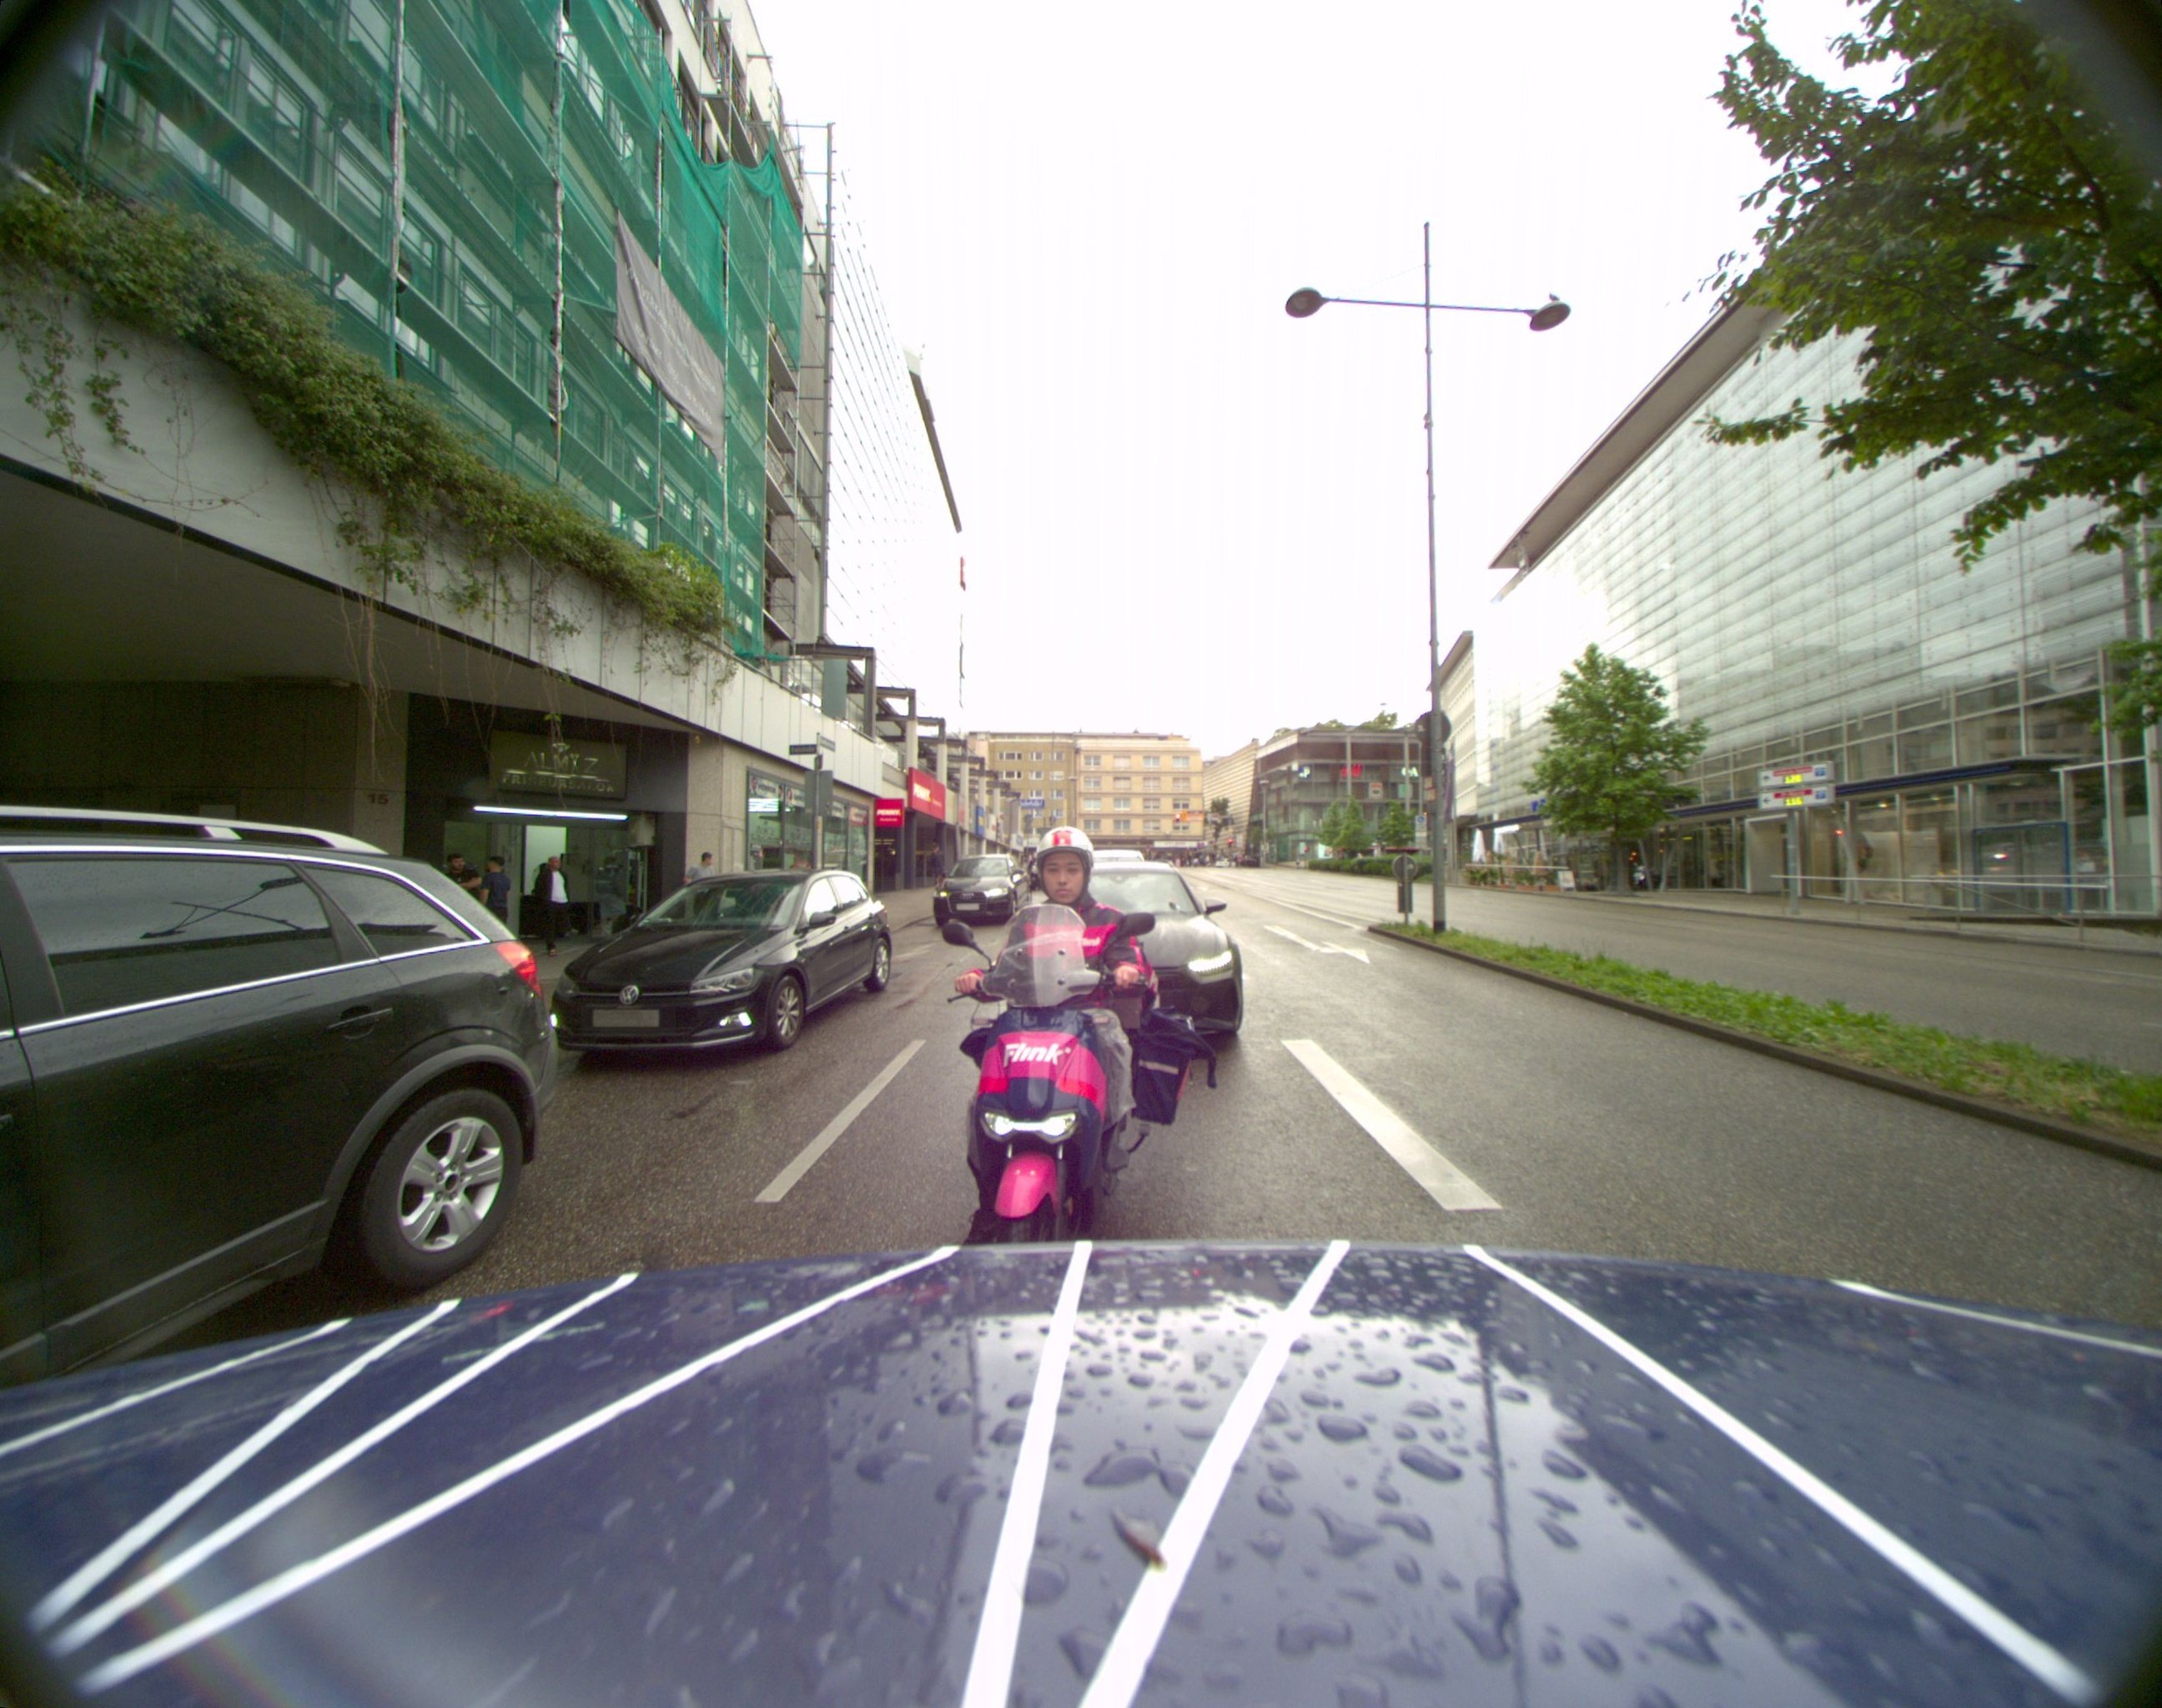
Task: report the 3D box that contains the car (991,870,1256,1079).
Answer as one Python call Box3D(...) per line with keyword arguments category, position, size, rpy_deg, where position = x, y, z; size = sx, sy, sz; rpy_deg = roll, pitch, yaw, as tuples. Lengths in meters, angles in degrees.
Box3D(category="car", position=(0.397, 0.930, 7.623), size=(1.890, 1.392, 4.164), rpy_deg=(-2, 0, 2))

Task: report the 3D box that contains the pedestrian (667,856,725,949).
Box3D(category="pedestrian", position=(-7.070, 0.873, 13.987), size=(0.639, 1.633, 0.733), rpy_deg=(-2, 2, -3))

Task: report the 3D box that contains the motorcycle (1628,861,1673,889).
Box3D(category="motorcycle", position=(27.904, 1.036, 37.266), size=(1.707, 1.319, 0.620), rpy_deg=(0, 1, 1))

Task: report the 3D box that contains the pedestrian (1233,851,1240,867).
Box3D(category="pedestrian", position=(17.696, 0.578, 86.325), size=(0.626, 1.764, 0.689), rpy_deg=(-2, 2, 5))

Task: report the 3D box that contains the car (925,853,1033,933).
Box3D(category="car", position=(-2.304, 0.834, 18.262), size=(1.841, 1.598, 4.164), rpy_deg=(-2, 1, 2))

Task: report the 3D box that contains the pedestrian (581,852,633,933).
Box3D(category="pedestrian", position=(-9.761, 0.784, 15.656), size=(0.676, 1.618, 0.580), rpy_deg=(0, 2, 7))

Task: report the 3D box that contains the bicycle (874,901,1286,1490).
Box3D(category="bicycle", position=(0.016, 0.992, 3.456), size=(1.034, 1.279, 2.948), rpy_deg=(-2, 1, 1))

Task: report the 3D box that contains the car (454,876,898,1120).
Box3D(category="car", position=(-3.208, 1.024, 7.140), size=(1.759, 1.495, 4.165), rpy_deg=(-2, -1, 2))

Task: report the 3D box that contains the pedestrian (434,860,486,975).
Box3D(category="pedestrian", position=(-9.579, 0.956, 11.719), size=(0.466, 1.698, 0.484), rpy_deg=(0, 2, 42))

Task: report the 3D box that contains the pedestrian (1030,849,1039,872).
Box3D(category="pedestrian", position=(-2.991, 0.401, 49.119), size=(0.510, 1.492, 0.579), rpy_deg=(0, 2, 0))

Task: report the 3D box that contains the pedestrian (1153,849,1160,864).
Box3D(category="pedestrian", position=(8.006, 0.292, 80.905), size=(0.634, 1.620, 0.602), rpy_deg=(0, 1, -1))

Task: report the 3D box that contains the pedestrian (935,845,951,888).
Box3D(category="pedestrian", position=(-5.504, 0.493, 30.327), size=(0.510, 1.669, 0.579), rpy_deg=(0, 2, 0))

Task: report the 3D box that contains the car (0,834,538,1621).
Box3D(category="car", position=(-3.327, 0.855, 1.239), size=(1.764, 1.755, 4.164), rpy_deg=(-2, -1, 2))

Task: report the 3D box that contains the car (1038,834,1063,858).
Box3D(category="car", position=(-2.686, -0.723, 67.708), size=(1.605, 2.002, 3.400), rpy_deg=(-2, 1, 7))

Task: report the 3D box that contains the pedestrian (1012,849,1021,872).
Box3D(category="pedestrian", position=(-4.146, 0.399, 48.909), size=(0.510, 1.492, 0.579), rpy_deg=(0, 2, 0))

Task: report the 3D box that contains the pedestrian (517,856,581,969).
Box3D(category="pedestrian", position=(-8.932, 0.938, 12.760), size=(0.771, 1.805, 0.745), rpy_deg=(2, 2, 44))

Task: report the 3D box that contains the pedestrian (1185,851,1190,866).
Box3D(category="pedestrian", position=(11.925, 0.533, 85.150), size=(0.428, 1.620, 0.602), rpy_deg=(1, 1, 5))

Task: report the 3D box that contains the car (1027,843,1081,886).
Box3D(category="car", position=(-1.106, 0.444, 32.974), size=(1.988, 1.696, 4.165), rpy_deg=(-2, -1, 2))

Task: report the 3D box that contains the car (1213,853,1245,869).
Box3D(category="car", position=(20.031, 0.923, 102.767), size=(1.994, 2.002, 4.597), rpy_deg=(1, 1, 44))

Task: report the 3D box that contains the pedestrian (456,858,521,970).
Box3D(category="pedestrian", position=(-8.799, 0.867, 11.308), size=(0.640, 1.586, 0.576), rpy_deg=(-3, 2, -32))

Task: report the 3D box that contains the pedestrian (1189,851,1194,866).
Box3D(category="pedestrian", position=(12.643, 0.524, 86.959), size=(0.428, 1.620, 0.602), rpy_deg=(1, 1, 3))

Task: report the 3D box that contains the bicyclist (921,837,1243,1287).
Box3D(category="bicyclist", position=(0.012, 0.718, 3.035), size=(1.063, 1.534, 0.825), rpy_deg=(-2, 2, 0))

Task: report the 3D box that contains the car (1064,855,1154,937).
Box3D(category="car", position=(0.633, 0.822, 16.620), size=(1.675, 1.520, 4.165), rpy_deg=(-2, -1, 2))
